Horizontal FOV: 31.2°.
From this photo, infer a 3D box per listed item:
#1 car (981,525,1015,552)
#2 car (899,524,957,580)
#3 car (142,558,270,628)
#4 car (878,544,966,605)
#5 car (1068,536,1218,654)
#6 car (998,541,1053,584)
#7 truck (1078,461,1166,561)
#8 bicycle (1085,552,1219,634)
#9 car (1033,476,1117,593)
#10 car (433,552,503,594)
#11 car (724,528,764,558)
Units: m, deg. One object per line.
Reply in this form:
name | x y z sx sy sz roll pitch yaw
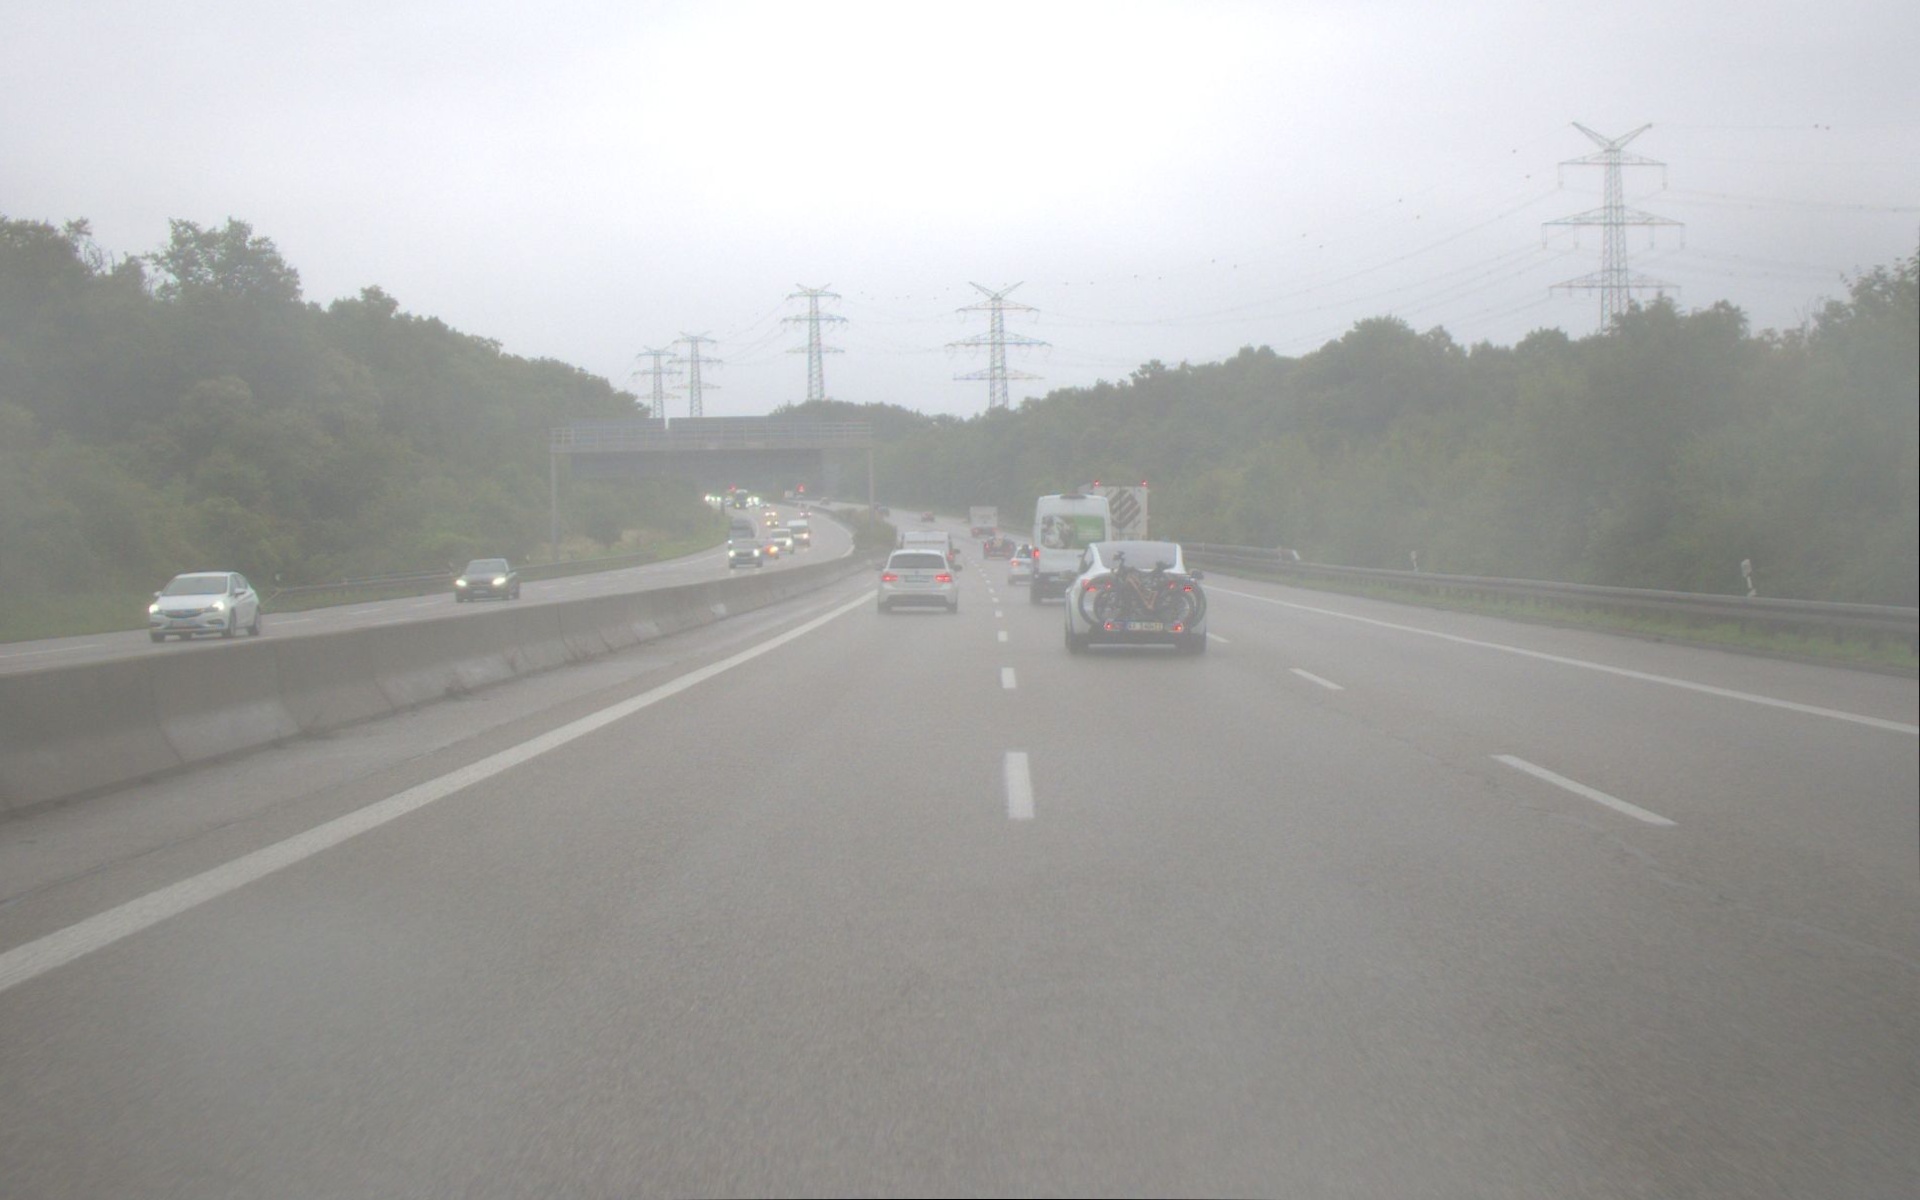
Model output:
car | 2.341 -3.777 212.483 1.993 1.568 4.000 -2 1 -1
car | -1.052 -1.573 113.224 1.846 1.766 4.000 1 0 -1
car | -16.639 -0.177 76.086 1.797 1.445 4.629 -1 1 0
car | -0.845 -0.587 76.585 1.866 1.284 4.000 -1 1 -1
car | 2.574 -0.111 49.479 1.860 1.562 4.964 0 1 0
car | 2.285 -1.338 120.189 1.857 1.417 4.000 0 2 0
truck | 7.282 -4.045 156.368 3.603 4.317 13.200 0 1 1
bicycle | 2.588 -0.097 46.541 1.753 1.087 0.914 0 0 -1
car | 2.894 -1.658 87.069 1.993 2.854 4.000 -1 1 1
car | -17.189 -0.964 120.314 1.798 1.380 4.468 -1 1 0
car | -12.785 -3.380 203.598 1.993 1.682 4.917 -1 1 0
